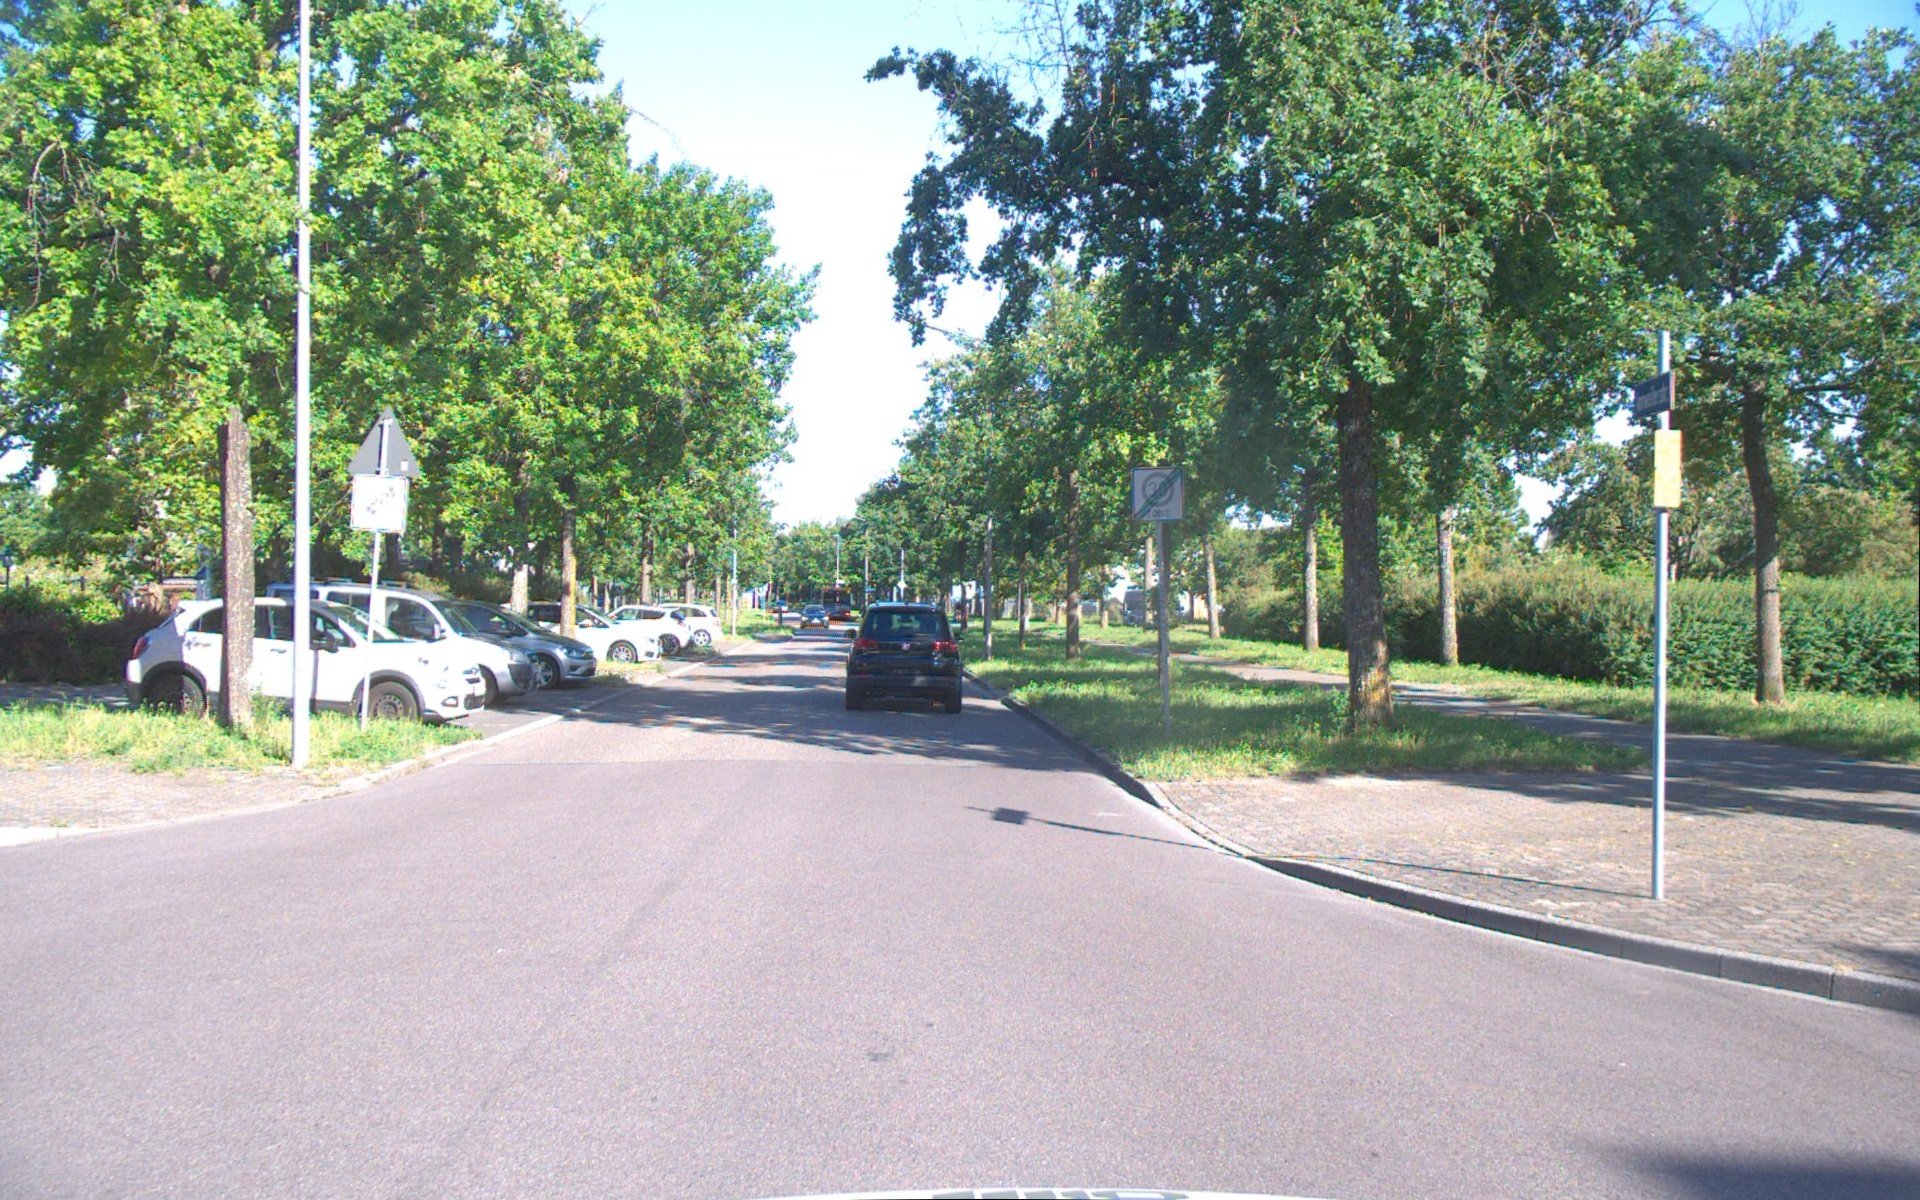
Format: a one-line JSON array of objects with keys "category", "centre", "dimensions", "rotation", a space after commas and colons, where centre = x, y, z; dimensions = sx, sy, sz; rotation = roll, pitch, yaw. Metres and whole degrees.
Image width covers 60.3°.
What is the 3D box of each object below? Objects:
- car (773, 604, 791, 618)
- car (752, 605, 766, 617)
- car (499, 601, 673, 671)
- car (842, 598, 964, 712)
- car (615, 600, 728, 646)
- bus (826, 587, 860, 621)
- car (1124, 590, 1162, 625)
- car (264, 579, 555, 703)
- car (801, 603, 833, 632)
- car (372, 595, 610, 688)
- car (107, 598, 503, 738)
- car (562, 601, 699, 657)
[{"category": "car", "centre": [-21.157, 1.301, 196.753], "dimensions": [1.789, 1.578, 3.687], "rotation": [0, 0, -2]}, {"category": "car", "centre": [-29.307, 1.629, 241.506], "dimensions": [1.780, 1.806, 3.774], "rotation": [0, -1, -4]}, {"category": "car", "centre": [-9.224, 0.887, 41.019], "dimensions": [3.935, 1.676, 1.810], "rotation": [0, 0, -2]}, {"category": "car", "centre": [-0.950, 0.829, 26.747], "dimensions": [1.801, 1.665, 3.955], "rotation": [1, 0, -3]}, {"category": "car", "centre": [-10.801, 0.875, 62.056], "dimensions": [3.935, 1.676, 1.810], "rotation": [1, -1, -2]}, {"category": "bus", "centre": [-10.595, 0.390, 150.284], "dimensions": [2.869, 3.056, 5.734], "rotation": [0, -1, -2]}, {"category": "car", "centre": [10.897, 0.416, 98.890], "dimensions": [2.011, 2.049, 4.002], "rotation": [0, 0, 3]}, {"category": "car", "centre": [-8.546, 0.619, 25.959], "dimensions": [3.935, 1.872, 1.896], "rotation": [0, 0, -2]}, {"category": "car", "centre": [-8.910, 1.061, 103.375], "dimensions": [1.815, 1.722, 3.954], "rotation": [0, 0, -2]}, {"category": "car", "centre": [-8.715, 0.757, 30.982], "dimensions": [3.935, 1.676, 1.896], "rotation": [0, 0, -2]}, {"category": "car", "centre": [-8.028, 0.815, 20.597], "dimensions": [4.157, 1.651, 1.896], "rotation": [0, 0, -2]}, {"category": "car", "centre": [-10.196, 0.900, 51.407], "dimensions": [3.935, 1.676, 1.810], "rotation": [0, 0, -2]}]
